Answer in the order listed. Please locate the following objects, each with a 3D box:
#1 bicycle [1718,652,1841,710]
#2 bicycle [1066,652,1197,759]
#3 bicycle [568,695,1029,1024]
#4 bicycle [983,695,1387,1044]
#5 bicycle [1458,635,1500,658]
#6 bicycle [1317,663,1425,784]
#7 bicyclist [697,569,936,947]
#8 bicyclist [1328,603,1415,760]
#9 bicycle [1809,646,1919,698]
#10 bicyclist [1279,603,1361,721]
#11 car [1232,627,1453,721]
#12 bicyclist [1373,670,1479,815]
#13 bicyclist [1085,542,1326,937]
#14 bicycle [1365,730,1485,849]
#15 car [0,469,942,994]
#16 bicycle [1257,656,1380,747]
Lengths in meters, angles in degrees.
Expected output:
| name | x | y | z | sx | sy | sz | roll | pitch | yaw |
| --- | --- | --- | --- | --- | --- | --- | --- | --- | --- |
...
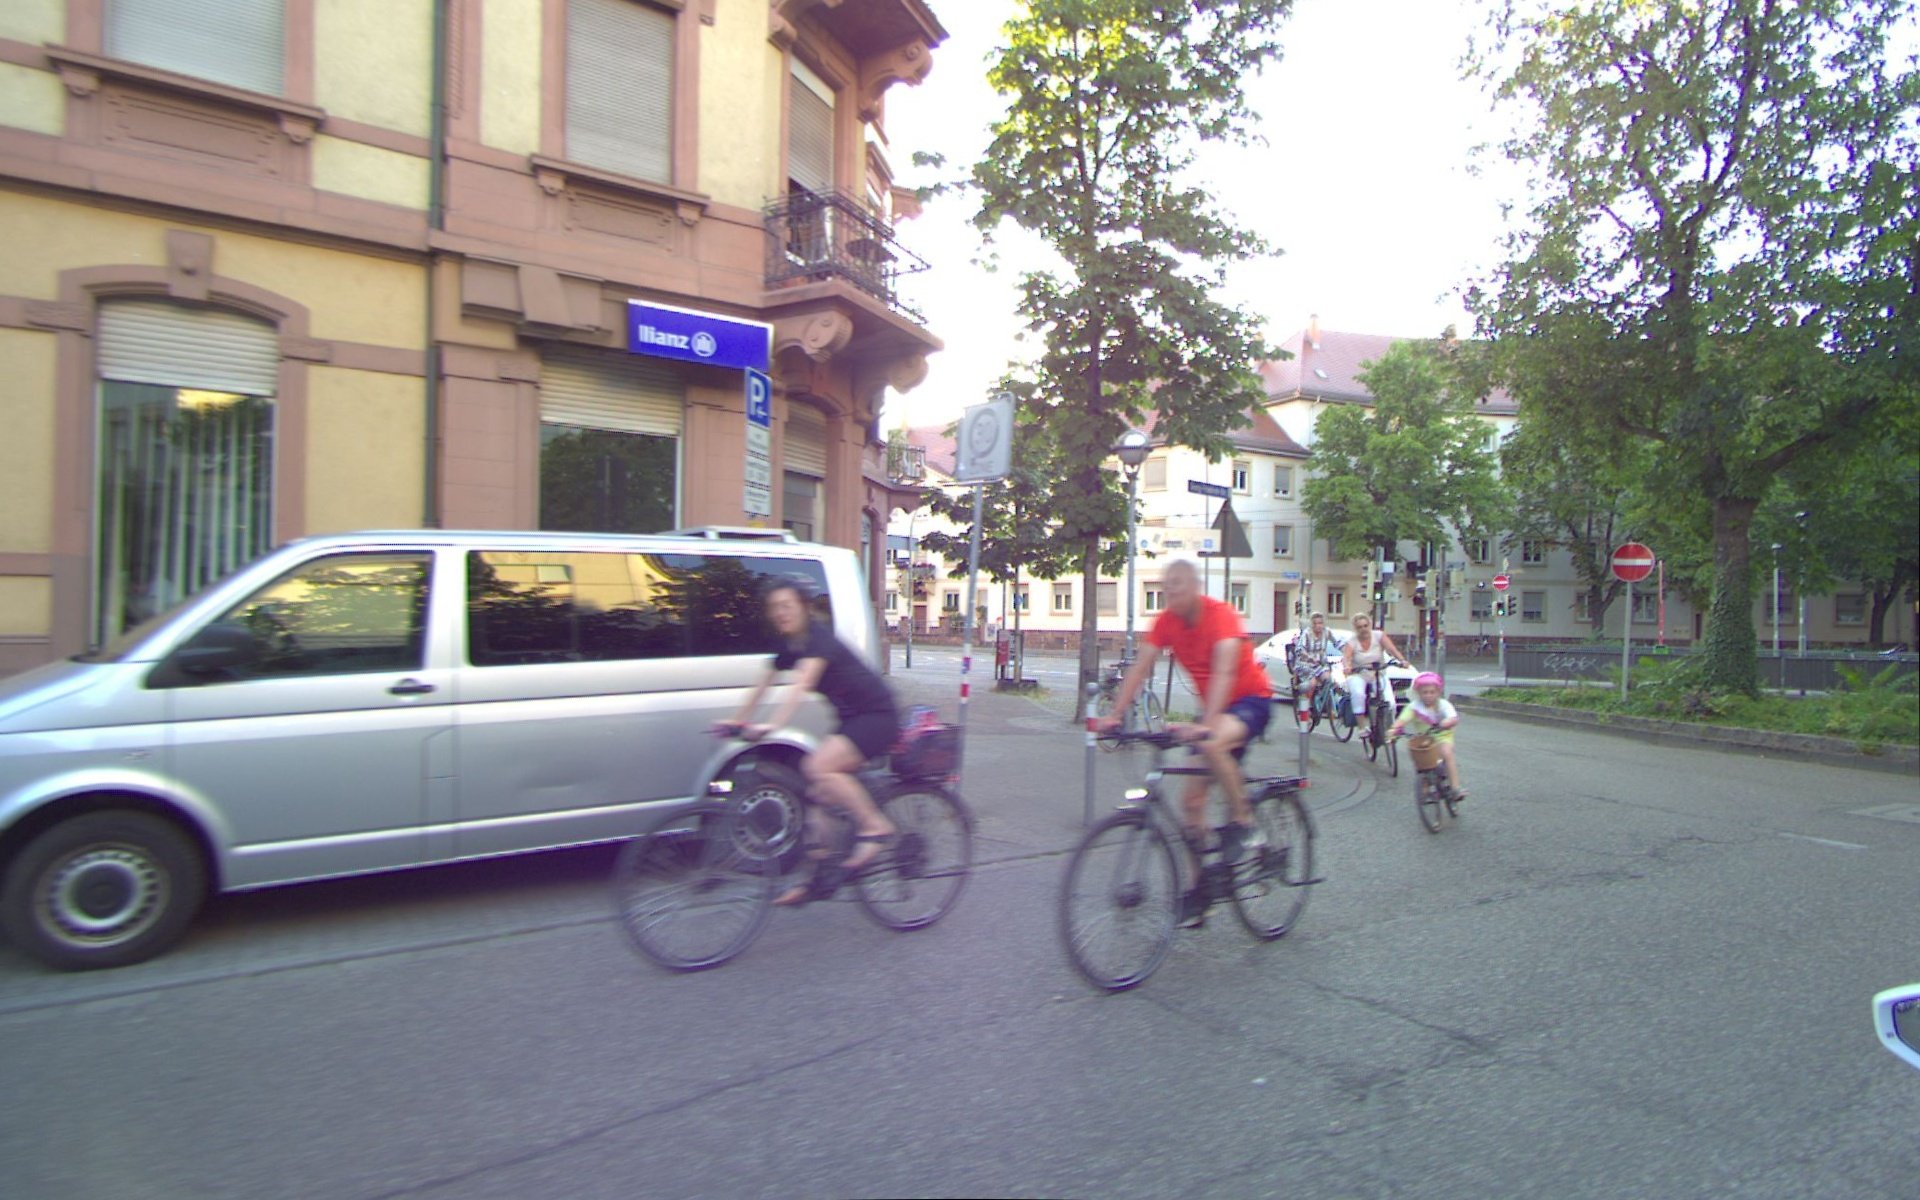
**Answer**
| name | x | y | z | sx | sy | sz | roll | pitch | yaw |
| --- | --- | --- | --- | --- | --- | --- | --- | --- | --- |
| bicycle | 18.265 | 1.786 | 22.461 | 2.080 | 1.166 | 0.684 | 0 | -1 | 36 |
| bicycle | 2.018 | 1.178 | 11.650 | 1.786 | 1.097 | 0.553 | 2 | 0 | -45 |
| bicycle | -0.682 | 1.055 | 4.647 | 1.994 | 1.122 | 0.716 | 1 | -1 | -35 |
| bicycle | 1.074 | 1.038 | 4.450 | 1.997 | 1.122 | 0.644 | 2 | -1 | -39 |
| bicycle | 27.259 | 2.426 | 52.779 | 1.881 | 1.166 | 0.687 | 1 | -1 | 3 |
| bicycle | 4.438 | 1.284 | 10.986 | 0.714 | 1.109 | 2.049 | 0 | -1 | 12 |
| bicyclist | -0.670 | 0.659 | 4.660 | 0.858 | 1.546 | 0.709 | 1 | -1 | -35 |
| bicyclist | 4.416 | 0.851 | 10.831 | 0.712 | 1.604 | 0.876 | 0 | -1 | 11 |
| bicycle | 20.251 | 1.591 | 22.516 | 1.826 | 1.065 | 0.544 | 0 | -1 | 37 |
| bicyclist | 4.954 | 0.842 | 13.852 | 0.668 | 1.565 | 0.872 | 1 | -1 | -17 |
| car | 7.118 | 1.314 | 19.350 | 1.963 | 1.537 | 4.836 | 1 | -1 | -7 |
| bicyclist | 3.557 | 1.048 | 7.645 | 0.637 | 0.990 | 0.728 | 0 | -1 | 33 |
| bicyclist | 1.093 | 0.558 | 4.461 | 0.859 | 1.546 | 0.647 | 1 | -1 | -38 |
| bicycle | 3.594 | 1.408 | 7.708 | 0.640 | 0.651 | 1.460 | 0 | -1 | 33 |
| car | -2.755 | 0.544 | 5.821 | 4.948 | 2.084 | 2.030 | 1 | 1 | -32 |
| bicycle | 4.927 | 1.362 | 13.934 | 0.674 | 1.109 | 1.802 | 1 | -1 | -17 |
